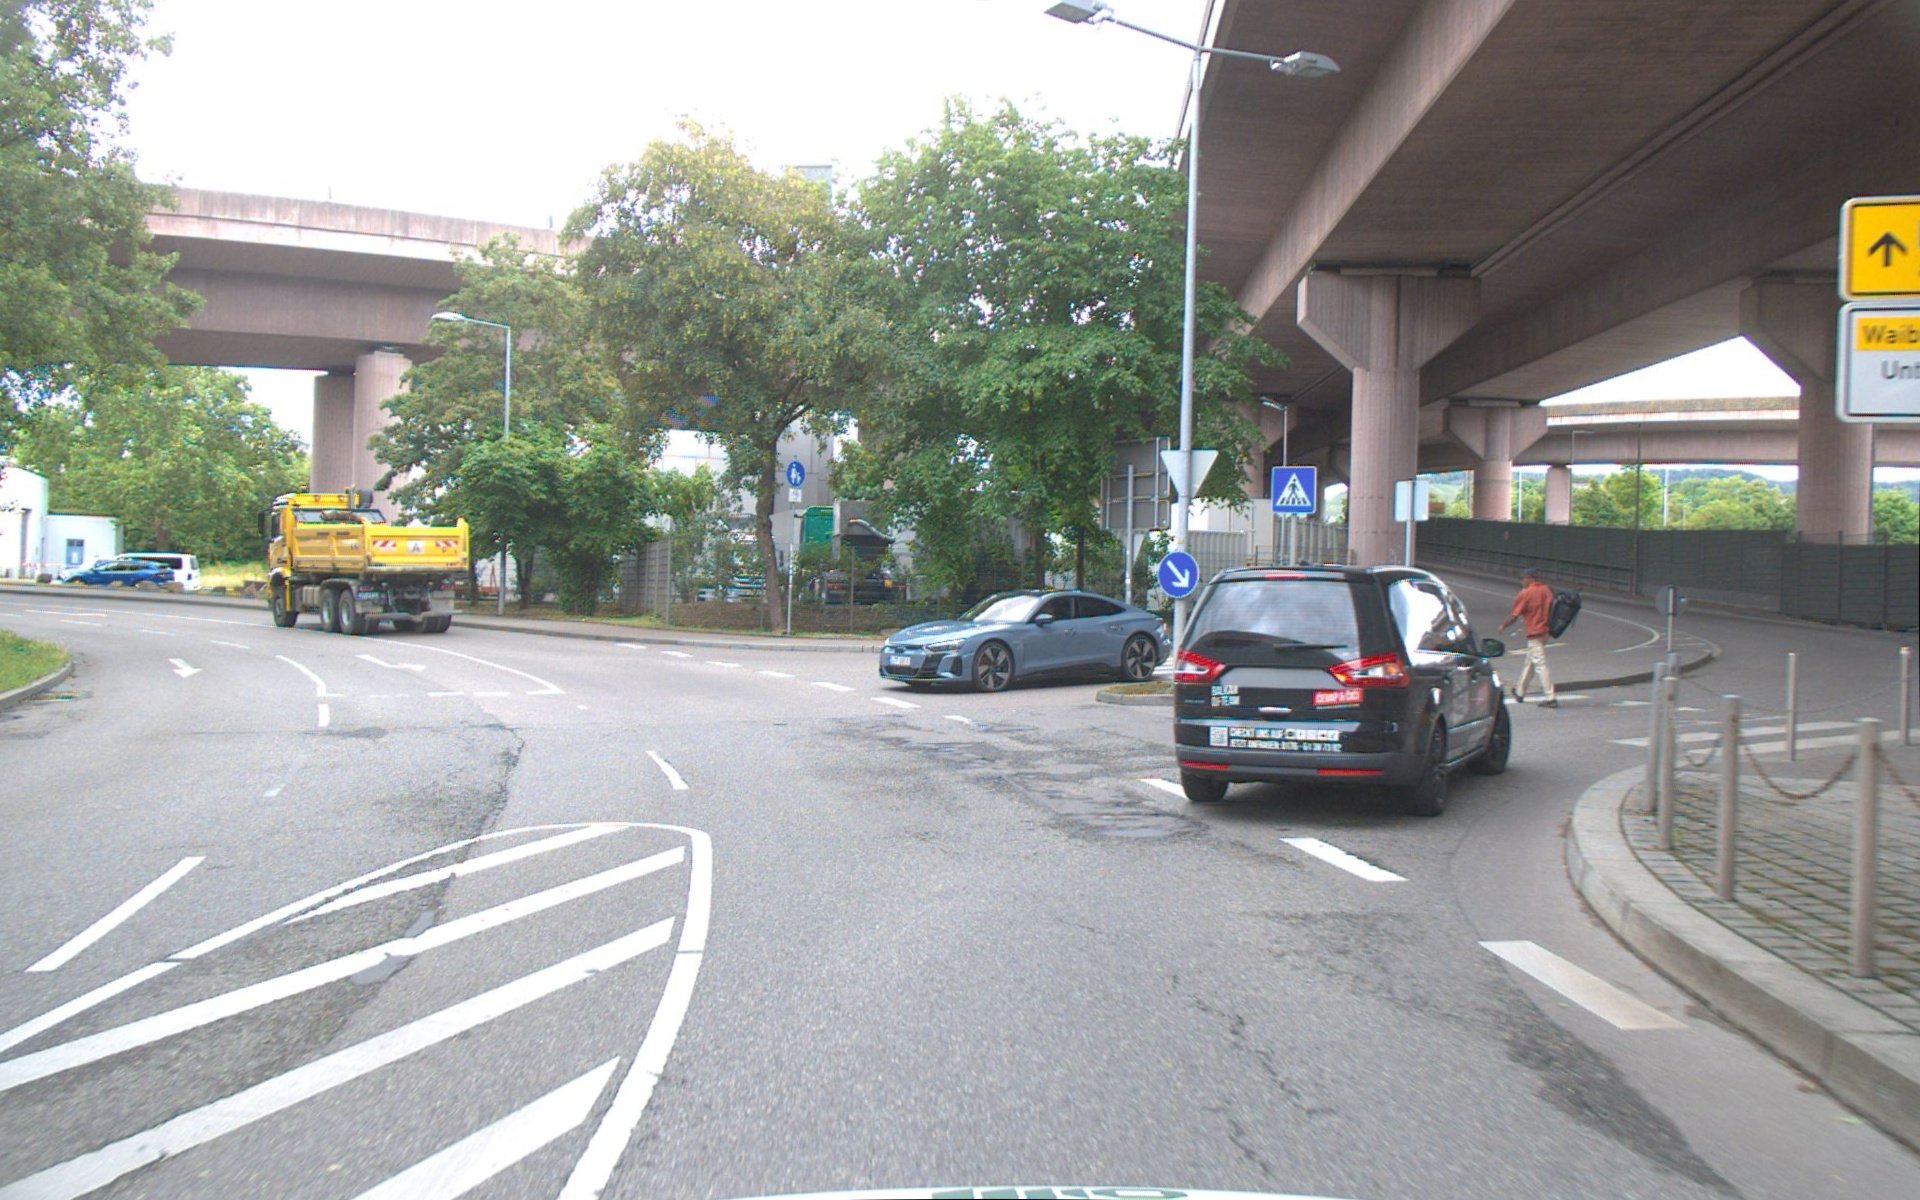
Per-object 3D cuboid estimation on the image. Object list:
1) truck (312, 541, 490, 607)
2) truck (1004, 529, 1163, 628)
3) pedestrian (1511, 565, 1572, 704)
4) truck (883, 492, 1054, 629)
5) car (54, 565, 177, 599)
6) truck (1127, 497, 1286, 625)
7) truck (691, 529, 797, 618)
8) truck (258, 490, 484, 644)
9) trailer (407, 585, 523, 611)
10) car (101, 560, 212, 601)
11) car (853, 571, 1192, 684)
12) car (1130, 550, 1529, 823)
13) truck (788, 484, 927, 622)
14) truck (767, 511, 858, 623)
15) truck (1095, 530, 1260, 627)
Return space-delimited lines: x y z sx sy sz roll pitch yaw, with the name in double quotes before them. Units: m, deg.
"truck" -22.898 -1.064 67.734 7.066 2.596 2.722 1 0 26
"truck" 3.822 -0.754 52.948 2.870 2.949 6.526 0 2 -18
"pedestrian" 7.261 0.424 20.663 0.526 1.705 0.557 -1 1 -9
"truck" 0.094 -1.260 51.682 3.018 3.935 8.009 0 2 -18
"car" -37.185 -0.792 72.903 4.357 1.467 1.998 0 0 -5
"truck" 8.942 -1.462 61.114 3.013 4.374 8.021 0 2 -13
"truck" -9.598 -1.238 72.742 3.010 3.682 7.871 0 2 -20
"truck" -15.130 -0.864 42.050 2.908 3.542 8.130 -1 2 -39
"trailer" -18.318 -0.097 61.006 2.133 0.756 6.212 -3 3 -36
"car" -37.410 -0.889 77.144 4.235 1.889 1.995 0 0 -10
"car" 1.005 0.378 24.743 4.882 1.528 2.144 0 0 -38
"car" 3.061 0.554 12.857 1.955 1.709 4.555 0 0 27
"truck" -3.352 -1.450 52.025 3.016 4.032 6.894 0 1 -16
"truck" -6.894 -1.547 76.374 3.147 4.863 8.023 0 2 -13
"truck" 6.976 -0.761 54.125 2.870 2.949 6.526 0 2 -18
